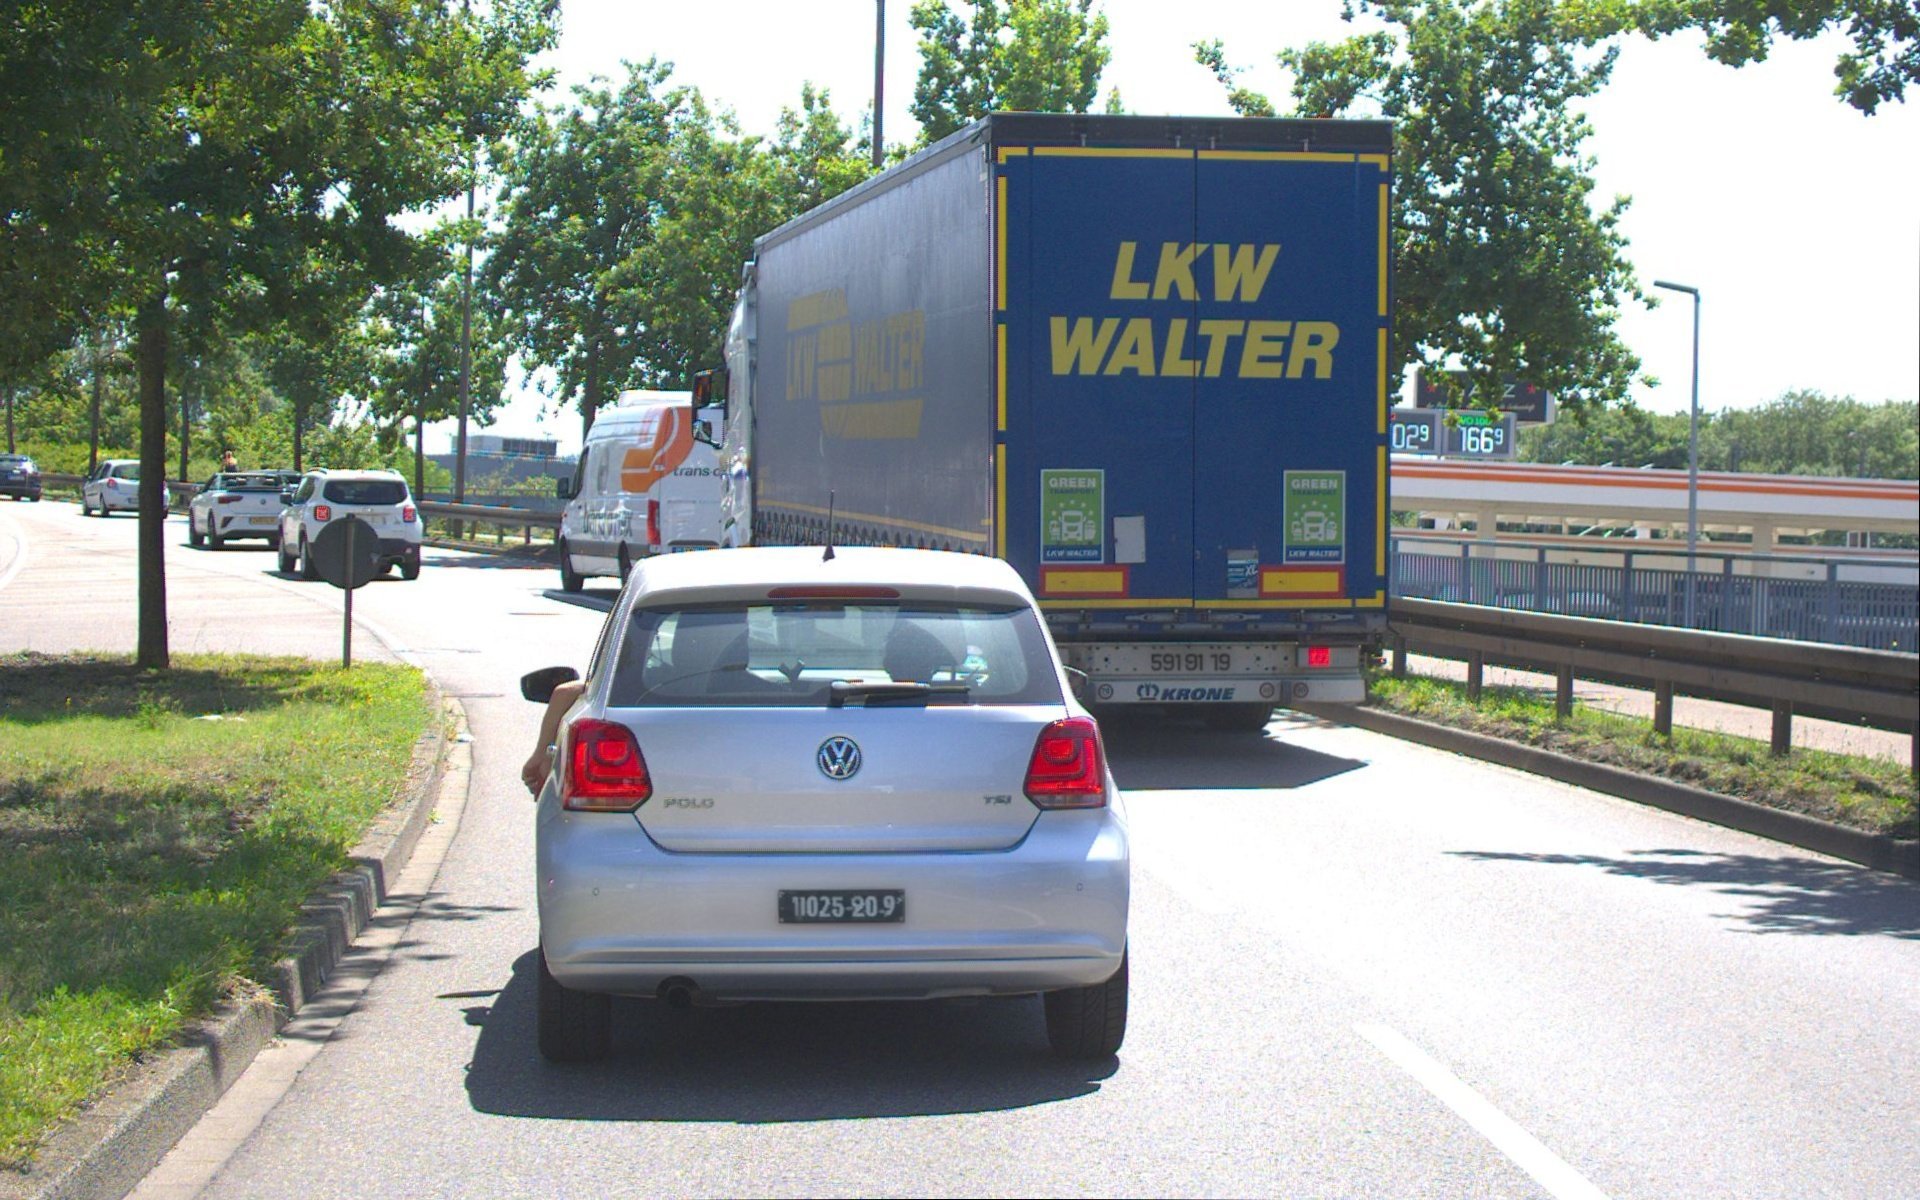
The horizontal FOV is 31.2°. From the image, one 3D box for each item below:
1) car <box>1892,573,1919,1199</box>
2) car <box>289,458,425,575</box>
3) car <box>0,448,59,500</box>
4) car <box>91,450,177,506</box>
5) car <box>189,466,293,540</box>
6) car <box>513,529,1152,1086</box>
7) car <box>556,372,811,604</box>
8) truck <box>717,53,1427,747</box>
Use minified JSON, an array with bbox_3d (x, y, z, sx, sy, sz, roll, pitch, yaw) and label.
[{"bbox_3d":[2.825,0.708,5.012,1.604,1.451,4.236,1,0,-2],"label":"car"},{"bbox_3d":[-9.505,-1.280,53.953,1.903,1.712,4.225,1,0,-12],"label":"car"},{"bbox_3d":[-28.573,-3.847,105.425,1.664,1.460,3.582,1,0,-17],"label":"car"},{"bbox_3d":[-21.245,-3.123,88.374,1.607,1.355,3.664,1,1,-22],"label":"car"},{"bbox_3d":[-13.989,-1.888,66.773,1.494,1.355,3.664,1,1,-19],"label":"car"},{"bbox_3d":[-0.471,0.531,10.786,1.646,1.434,3.537,1,0,-5],"label":"car"},{"bbox_3d":[-3.886,-1.559,46.965,2.175,2.890,6.361,1,2,-16],"label":"car"},{"bbox_3d":[0.132,-1.407,29.299,2.832,4.184,16.479,1,1,-9],"label":"truck"}]
